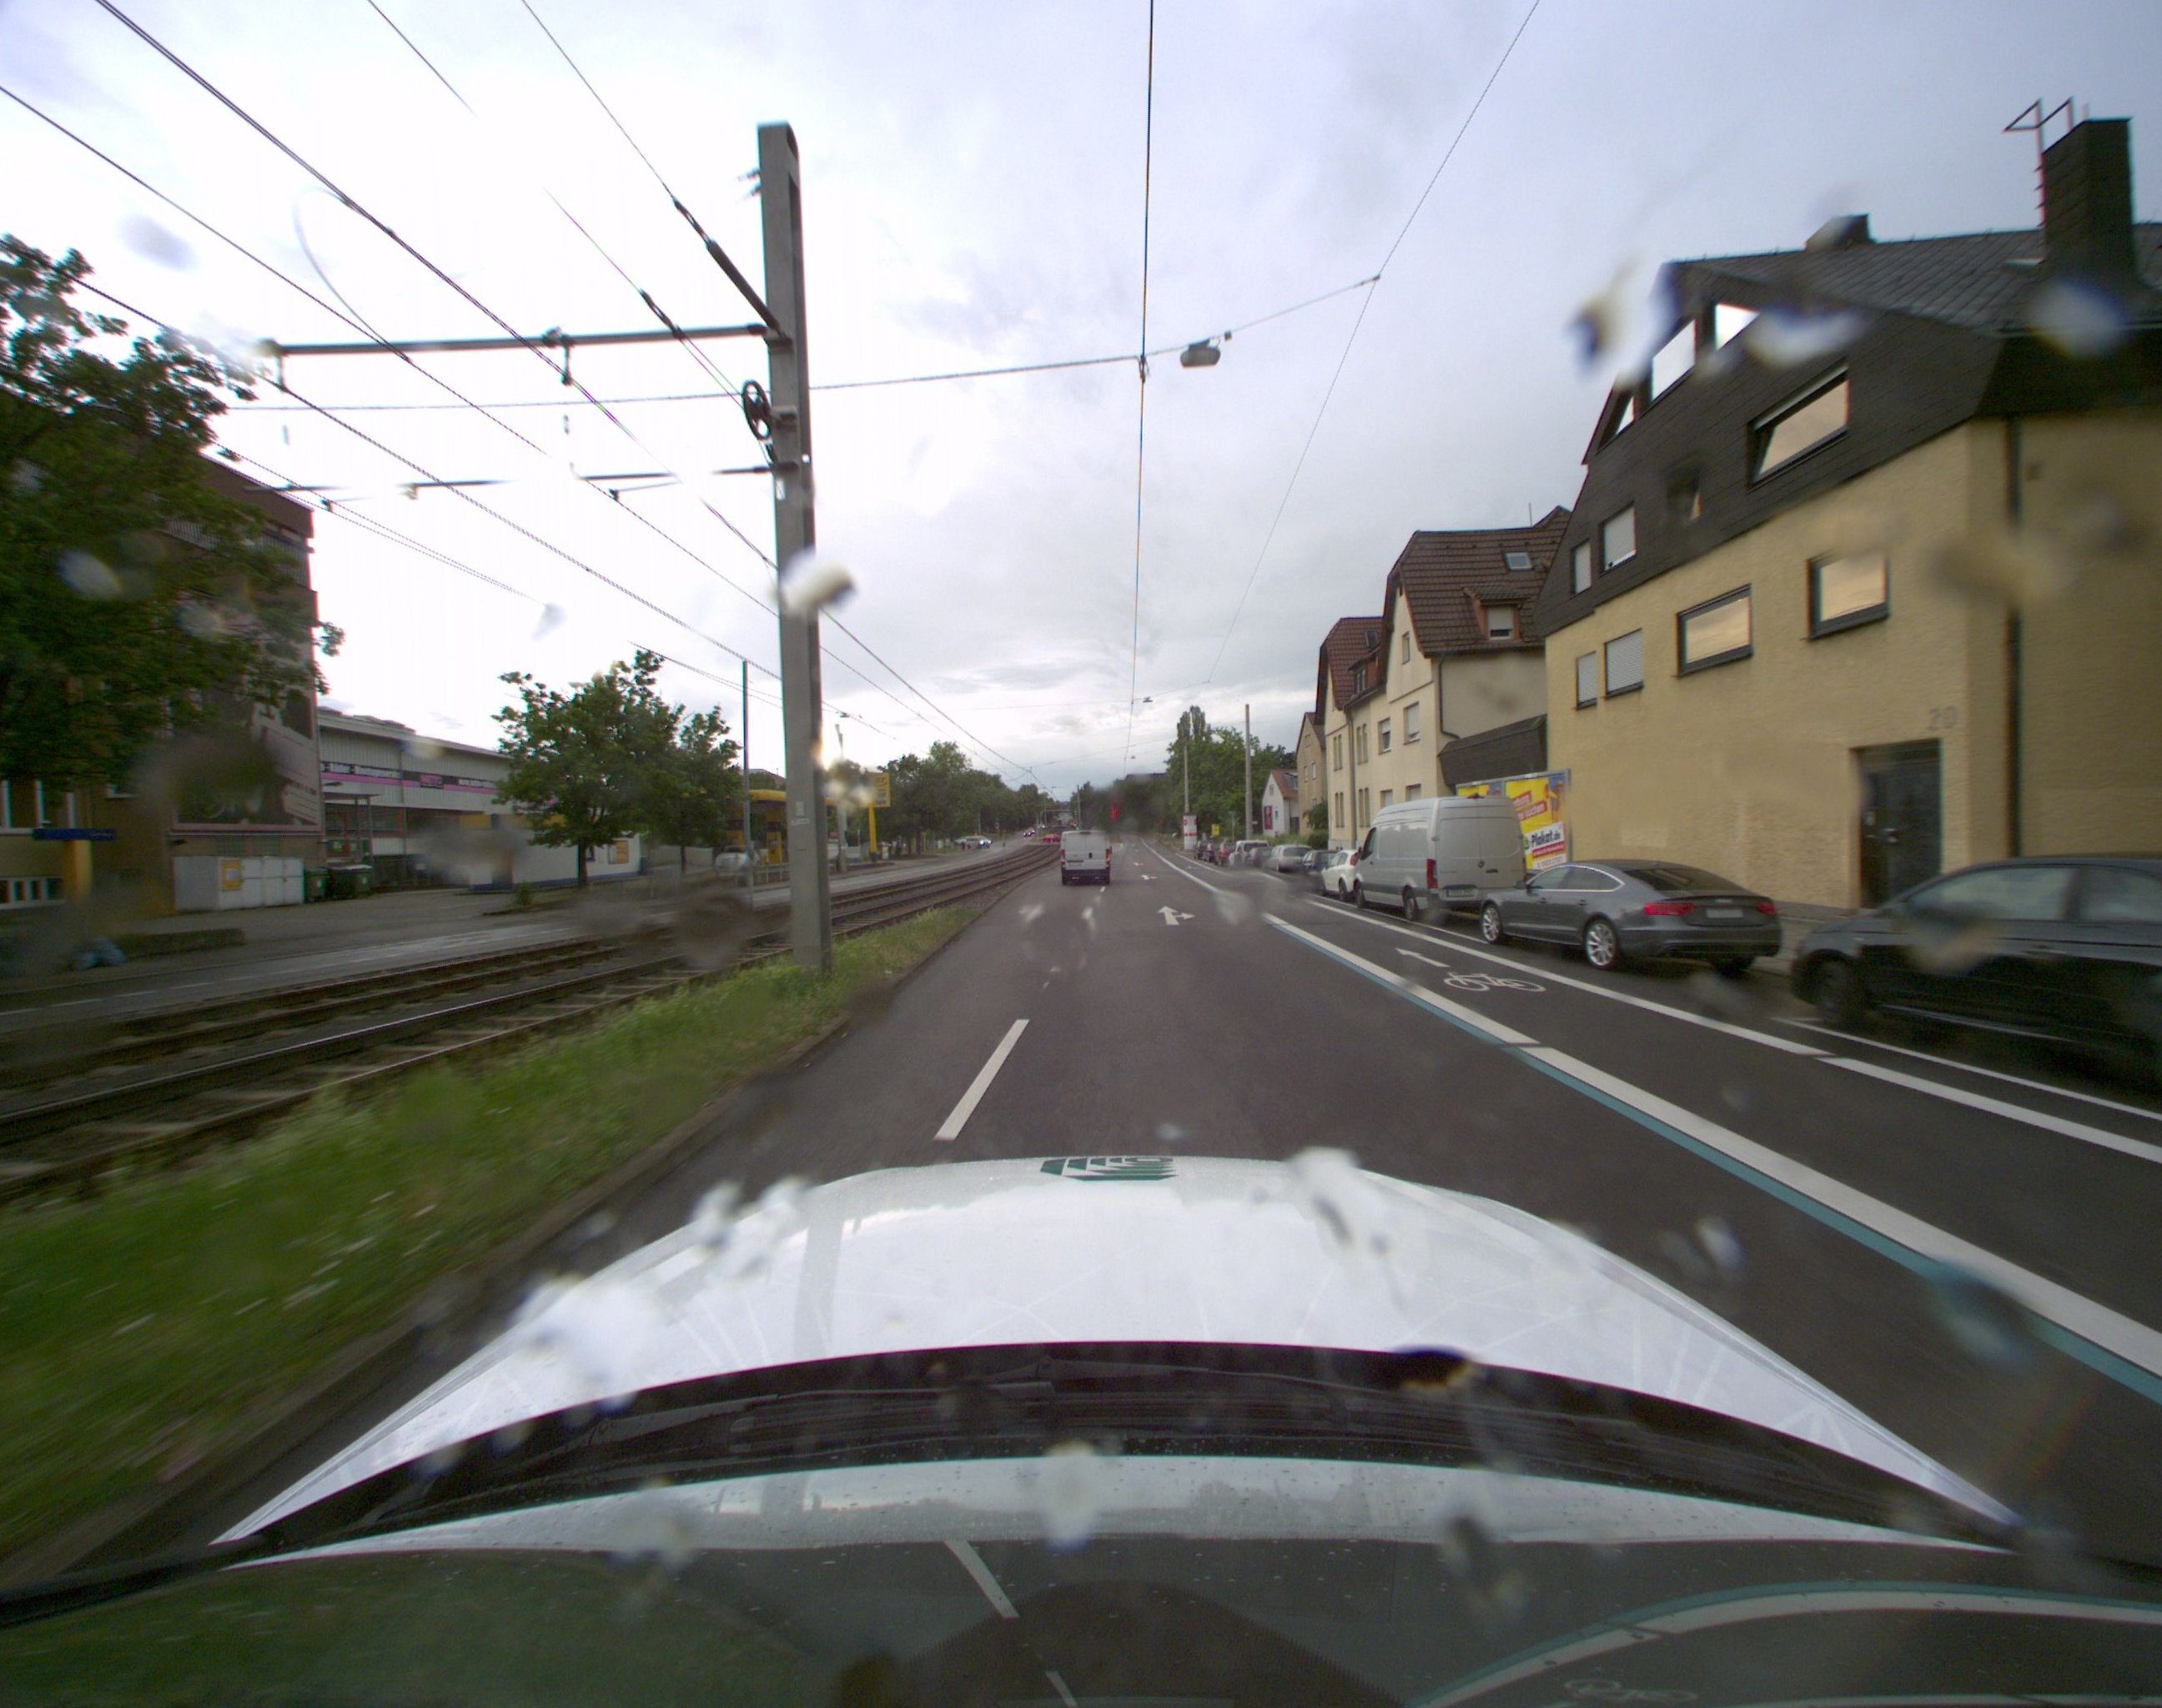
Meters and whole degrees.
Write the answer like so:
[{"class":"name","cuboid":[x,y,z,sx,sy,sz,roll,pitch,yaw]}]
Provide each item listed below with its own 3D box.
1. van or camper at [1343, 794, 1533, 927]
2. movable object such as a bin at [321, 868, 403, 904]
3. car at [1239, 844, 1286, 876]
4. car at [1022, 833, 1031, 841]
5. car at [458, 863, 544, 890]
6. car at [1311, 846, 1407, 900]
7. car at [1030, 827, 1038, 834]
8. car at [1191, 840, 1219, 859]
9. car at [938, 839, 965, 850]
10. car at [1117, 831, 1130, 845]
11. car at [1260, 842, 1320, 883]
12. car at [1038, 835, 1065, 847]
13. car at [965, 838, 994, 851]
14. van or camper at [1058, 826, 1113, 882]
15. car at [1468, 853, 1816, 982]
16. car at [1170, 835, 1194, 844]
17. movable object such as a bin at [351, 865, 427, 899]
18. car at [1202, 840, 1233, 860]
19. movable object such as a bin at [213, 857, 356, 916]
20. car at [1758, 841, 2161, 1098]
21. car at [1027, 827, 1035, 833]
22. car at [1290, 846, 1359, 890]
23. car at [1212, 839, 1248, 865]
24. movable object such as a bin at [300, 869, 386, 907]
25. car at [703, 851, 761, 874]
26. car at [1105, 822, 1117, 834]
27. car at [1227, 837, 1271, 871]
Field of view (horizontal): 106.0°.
[{"class":"van or camper","cuboid":[7.844,0.063,18.702,1.985,2.563,6.048,0,1,3]},{"class":"movable object such as a bin","cuboid":[-30.103,1.335,34.139,1.993,1.375,1.565,0,1,-9]},{"class":"car","cuboid":[8.878,0.264,40.089,1.640,1.445,3.957,0,1,2]},{"class":"car","cuboid":[-12.102,-3.786,181.373,1.684,1.711,3.777,0,0,1]},{"class":"car","cuboid":[-33.326,1.290,46.895,3.780,1.479,1.563,0,0,-23]},{"class":"car","cuboid":[8.262,0.514,24.540,1.701,1.446,4.044,0,1,3]},{"class":"car","cuboid":[-14.372,-7.239,247.255,1.986,2.013,4.002,0,0,2]},{"class":"car","cuboid":[10.493,-0.376,69.279,1.841,1.499,3.956,-1,0,1]},{"class":"car","cuboid":[-24.062,-1.801,151.557,4.472,2.013,2.011,0,0,24]},{"class":"car","cuboid":[6.639,-2.519,127.835,1.986,2.013,4.003,0,0,2]},{"class":"car","cuboid":[8.792,0.297,34.547,1.639,1.615,4.107,0,1,2]},{"class":"car","cuboid":[-5.151,-2.237,141.515,4.470,2.013,2.012,0,0,42]},{"class":"car","cuboid":[-16.661,-1.569,133.349,4.469,2.013,2.013,0,0,36]},{"class":"van or camper","cuboid":[0.176,-0.007,34.994,2.192,2.252,4.682,0,0,-1]},{"class":"car","cuboid":[7.450,0.719,11.515,1.783,1.406,4.551,0,1,-1]},{"class":"car","cuboid":[17.977,-2.619,144.888,4.147,1.476,1.671,-2,1,8]},{"class":"movable object such as a bin","cuboid":[-30.360,1.229,35.789,1.993,1.375,1.565,0,1,-9]},{"class":"car","cuboid":[10.542,-0.317,63.222,1.841,1.499,3.956,-1,0,1]},{"class":"movable object such as a bin","cuboid":[-29.028,1.124,29.855,1.993,1.919,3.561,0,1,-8]},{"class":"car","cuboid":[7.088,0.674,5.832,1.560,1.498,3.512,0,0,-1]},{"class":"car","cuboid":[-12.534,-6.004,204.330,1.684,1.574,3.777,0,0,1]},{"class":"car","cuboid":[8.646,0.451,29.173,1.619,1.448,3.711,0,1,4]},{"class":"car","cuboid":[10.087,-0.179,55.377,1.841,1.645,3.956,-1,1,1]},{"class":"movable object such as a bin","cuboid":[-29.431,1.334,32.539,1.993,1.375,1.565,0,1,-9]},{"class":"car","cuboid":[-22.721,0.526,53.175,1.987,1.442,4.000,0,0,0]},{"class":"car","cuboid":[5.438,-4.665,146.338,1.987,2.013,3.999,0,0,-1]},{"class":"car","cuboid":[9.349,-0.045,45.549,1.740,1.807,3.956,-1,1,1]}]
